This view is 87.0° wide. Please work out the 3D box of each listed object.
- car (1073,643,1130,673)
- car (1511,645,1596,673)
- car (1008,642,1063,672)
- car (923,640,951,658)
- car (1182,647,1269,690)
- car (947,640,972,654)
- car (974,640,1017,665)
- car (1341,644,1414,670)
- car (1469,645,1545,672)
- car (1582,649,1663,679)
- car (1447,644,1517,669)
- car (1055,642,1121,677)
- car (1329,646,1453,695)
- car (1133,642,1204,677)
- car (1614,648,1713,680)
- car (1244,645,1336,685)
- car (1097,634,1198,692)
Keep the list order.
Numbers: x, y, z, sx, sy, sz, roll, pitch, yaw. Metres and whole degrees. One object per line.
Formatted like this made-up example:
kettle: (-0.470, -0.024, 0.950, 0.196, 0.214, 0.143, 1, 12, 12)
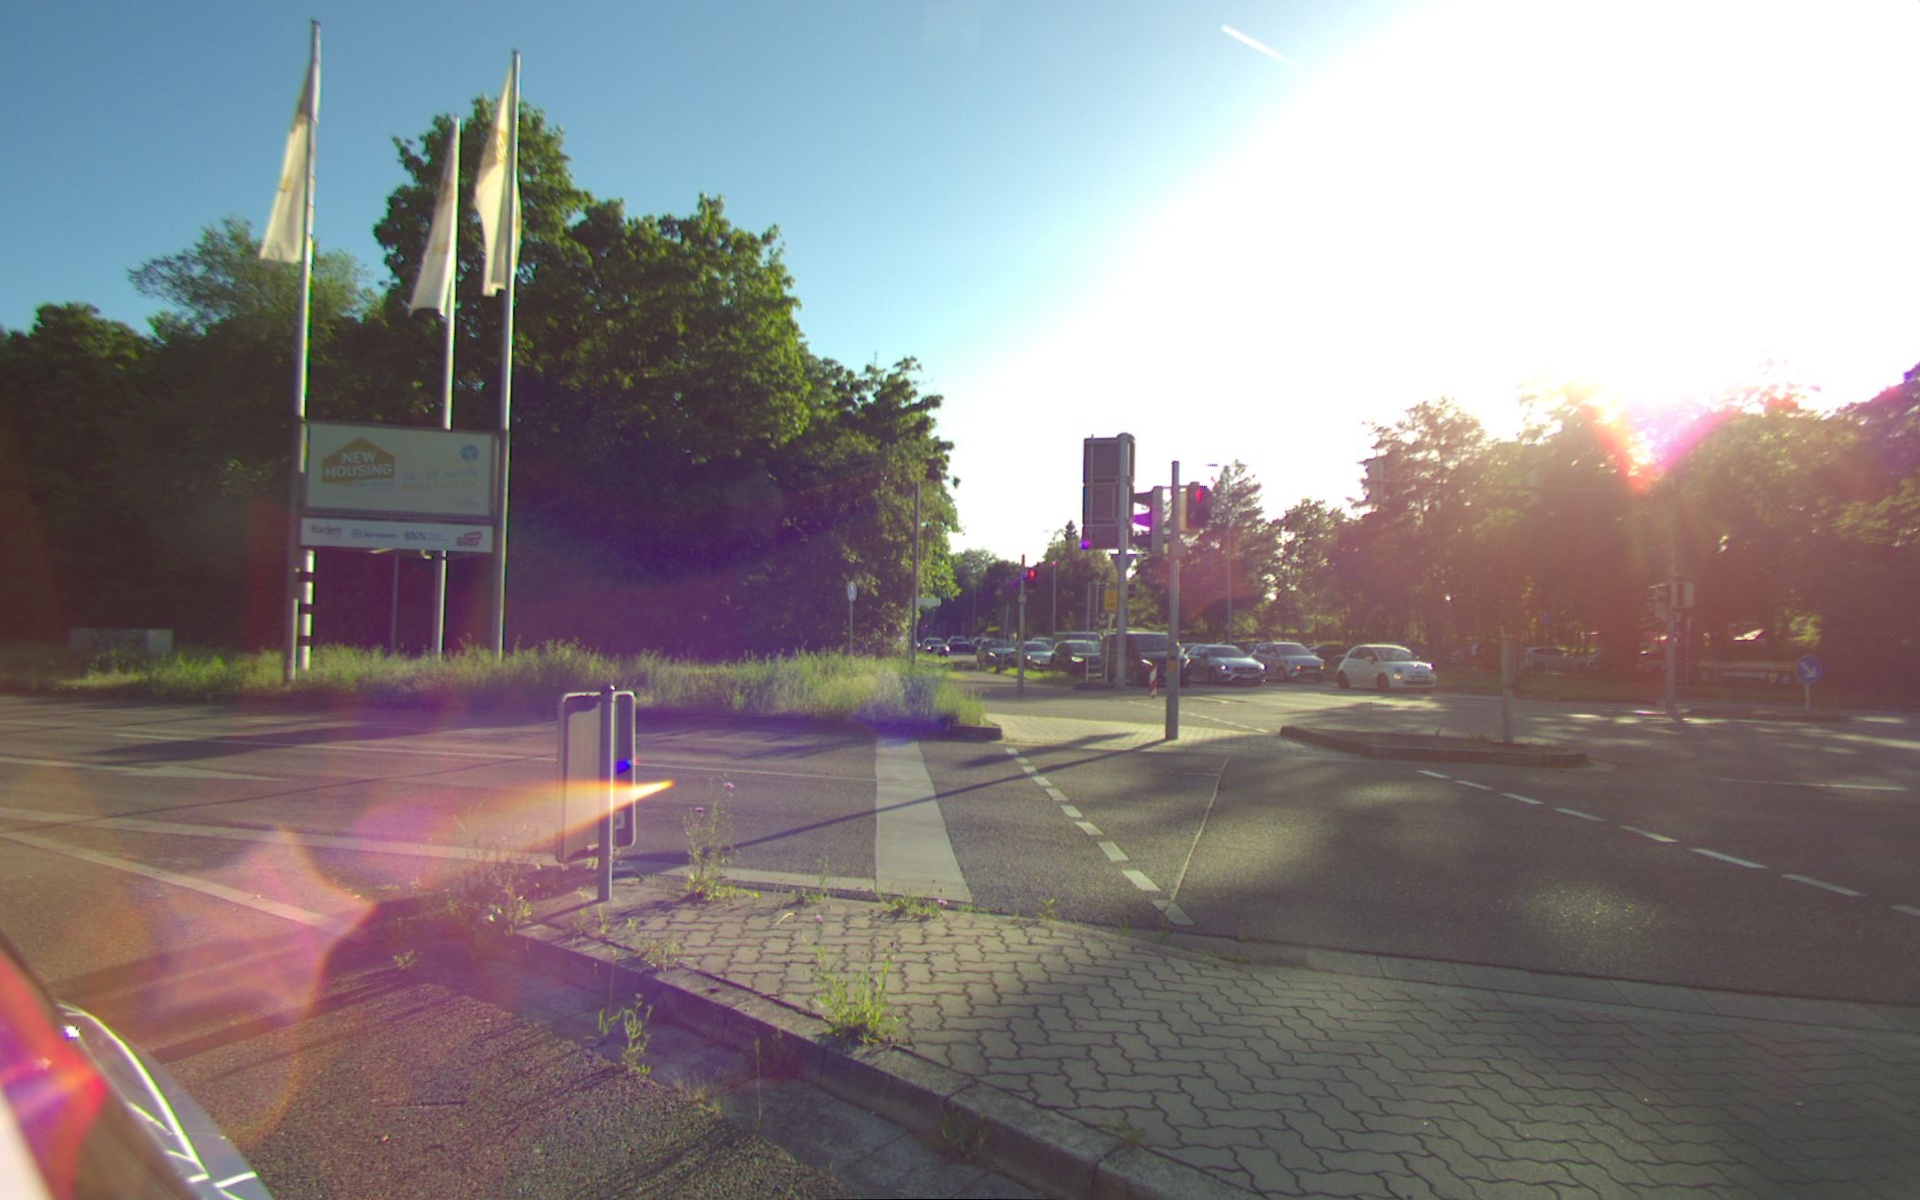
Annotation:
car: (7.129, 2.903, 51.247, 1.824, 1.400, 3.807, 1, -2, -9)
car: (36.393, 3.598, 62.174, 4.097, 1.612, 1.812, 1, -2, 4)
car: (3.688, 2.795, 50.065, 1.824, 1.400, 3.807, 1, -2, -9)
car: (-1.922, 4.014, 83.394, 1.824, 1.400, 3.807, 1, -2, -9)
car: (9.441, 2.413, 36.300, 1.621, 1.400, 3.807, 1, -2, -9)
car: (-0.041, 5.009, 108.353, 1.744, 1.464, 4.011, 1, -2, -14)
car: (2.099, 3.108, 60.483, 1.824, 1.400, 3.807, 1, -2, -9)
car: (27.454, 3.734, 66.597, 3.944, 1.631, 1.942, 1, -2, 0)
car: (35.392, 3.775, 65.587, 3.920, 1.612, 1.812, 1, -2, 4)
car: (37.417, 3.622, 57.209, 3.447, 1.612, 1.816, 1, -2, -6)
car: (36.183, 3.901, 70.236, 3.920, 1.612, 1.812, 1, -2, 4)
car: (5.521, 2.551, 44.069, 1.824, 1.400, 3.807, 1, -2, -9)
car: (13.632, 2.211, 32.261, 1.897, 1.400, 3.807, 1, -2, -9)
car: (9.095, 2.583, 44.478, 1.824, 1.400, 3.807, 1, -2, -9)
car: (37.868, 3.450, 54.525, 4.131, 1.612, 1.816, 1, -2, -6)
car: (12.664, 2.471, 39.031, 1.824, 1.400, 3.807, 1, -2, -9)
car: (6.453, 2.148, 35.492, 1.897, 1.844, 4.943, 1, -2, -9)
